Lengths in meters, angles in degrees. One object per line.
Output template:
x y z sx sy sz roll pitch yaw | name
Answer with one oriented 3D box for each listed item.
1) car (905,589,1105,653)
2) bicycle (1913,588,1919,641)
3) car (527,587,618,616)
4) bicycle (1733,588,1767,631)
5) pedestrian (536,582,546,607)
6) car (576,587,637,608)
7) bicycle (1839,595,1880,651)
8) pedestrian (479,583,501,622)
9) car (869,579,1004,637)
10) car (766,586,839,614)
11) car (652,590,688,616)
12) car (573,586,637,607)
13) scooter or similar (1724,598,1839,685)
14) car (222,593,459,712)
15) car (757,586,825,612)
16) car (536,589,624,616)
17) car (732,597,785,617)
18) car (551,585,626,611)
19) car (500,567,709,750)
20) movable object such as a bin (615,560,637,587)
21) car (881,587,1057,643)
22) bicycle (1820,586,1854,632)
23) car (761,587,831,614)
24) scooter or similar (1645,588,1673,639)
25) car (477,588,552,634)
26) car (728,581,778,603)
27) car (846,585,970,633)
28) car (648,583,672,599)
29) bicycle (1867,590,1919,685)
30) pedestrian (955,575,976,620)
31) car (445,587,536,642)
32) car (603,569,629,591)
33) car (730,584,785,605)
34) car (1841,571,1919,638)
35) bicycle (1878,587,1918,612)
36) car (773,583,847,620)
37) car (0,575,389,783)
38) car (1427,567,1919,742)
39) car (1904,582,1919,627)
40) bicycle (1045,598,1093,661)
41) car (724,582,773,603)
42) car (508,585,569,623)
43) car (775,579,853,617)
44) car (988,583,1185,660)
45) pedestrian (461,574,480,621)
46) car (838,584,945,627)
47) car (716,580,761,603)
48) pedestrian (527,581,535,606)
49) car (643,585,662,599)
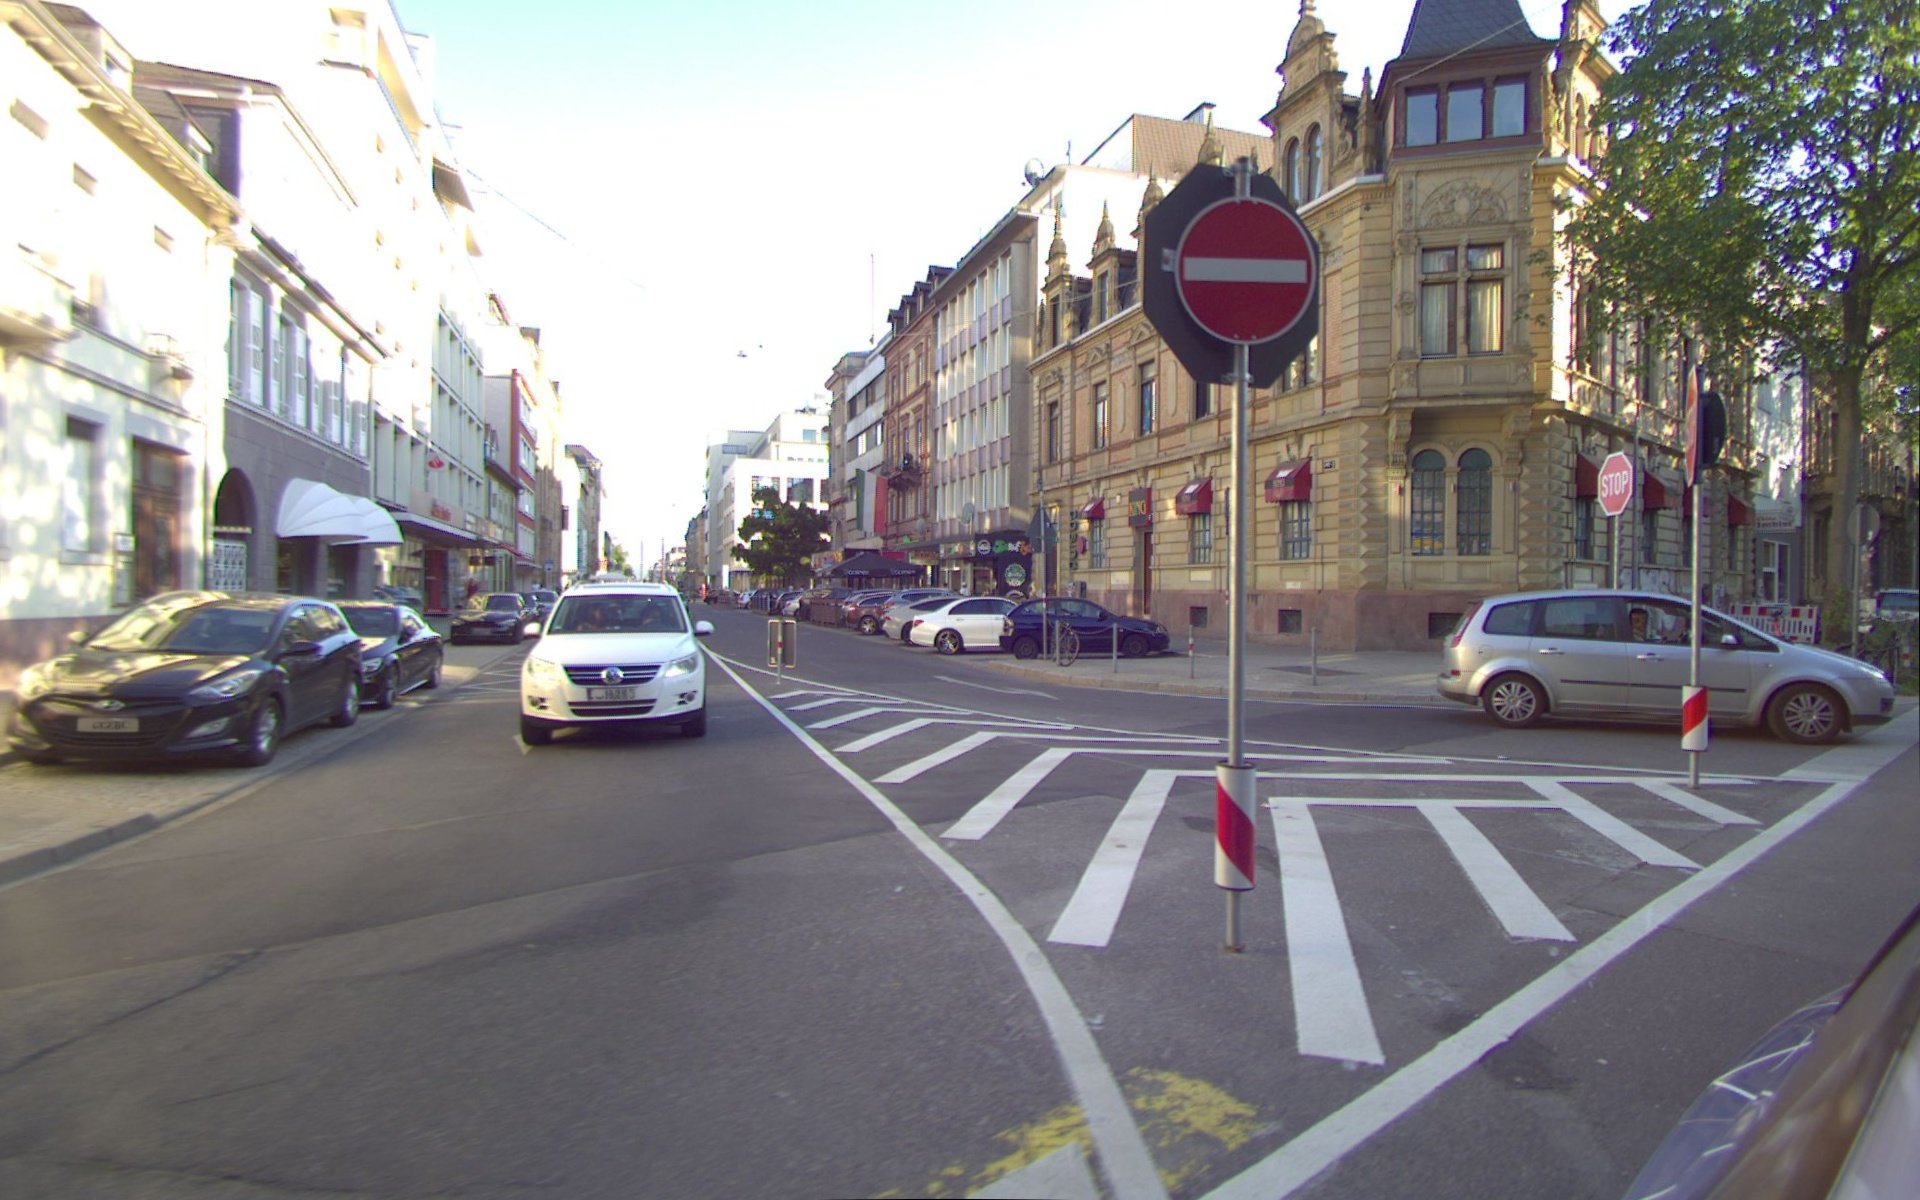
1.202 0.497 26.204 4.915 1.476 1.980 1 1 13 | car
31.403 0.454 31.035 0.647 1.684 3.115 0 0 -44 | bicycle
-19.696 0.034 51.609 1.763 1.386 4.132 1 1 34 | car
23.205 0.276 29.724 1.694 1.226 0.386 0 1 -39 | bicycle
-28.839 -0.362 69.709 0.588 1.728 0.499 2 -1 -25 | pedestrian
-27.156 -0.181 77.845 4.114 1.543 1.771 -1 2 -44 | car
19.667 0.477 22.119 2.212 1.167 0.524 -1 1 -45 | bicycle
-24.407 0.117 52.600 0.891 2.039 1.104 0 0 -18 | pedestrian
-0.722 0.221 32.589 4.072 1.747 1.775 1 1 11 | car
-9.366 0.004 60.266 4.051 1.580 1.784 1 1 -17 | car
-16.627 0.142 57.883 1.707 1.390 4.008 -1 0 -20 | car
-26.133 -0.278 74.629 4.115 1.543 1.771 -1 2 -45 | car
12.238 0.600 15.100 1.252 1.259 0.505 0 0 7 | scooter or similar
-8.710 0.646 14.692 1.738 1.387 4.527 3 0 -16 | car
-10.832 -0.062 64.821 4.051 1.580 1.784 1 1 -17 | car
-20.636 0.097 55.060 1.769 1.386 4.119 1 2 43 | car
-16.275 0.551 81.631 4.051 1.580 1.784 1 1 -17 | car
-23.166 -0.143 63.139 4.103 1.543 1.776 -1 1 -35 | car
-3.831 0.504 11.557 1.856 1.676 4.213 0 1 -14 | car
-38.070 -2.980 115.490 2.306 2.993 5.585 -1 0 -17 | movable object such as a bin
0.303 0.420 29.518 4.897 1.476 1.869 1 0 12 | car
24.563 0.240 28.340 1.694 1.250 0.386 0 1 -39 | bicycle
-10.201 0.012 62.876 4.051 1.580 1.784 1 1 -17 | car
16.728 0.322 24.218 1.073 1.209 0.251 1 0 -39 | scooter or similar
-14.825 0.309 33.863 1.738 1.386 4.193 0 1 -16 | car
-17.292 -0.655 84.570 3.916 1.838 1.862 0 1 -19 | car
-1.806 0.295 35.807 4.072 1.559 1.775 1 1 11 | car
-26.334 -0.794 88.817 1.707 1.390 4.008 -1 0 -20 | car
14.268 0.550 15.290 1.262 1.389 0.418 0 1 -29 | bicycle
0.211 -0.104 40.299 0.621 1.785 0.737 0 0 -18 | pedestrian
-13.207 0.350 28.695 1.738 1.386 4.193 0 1 -16 | car
-33.612 -1.950 98.810 2.306 2.039 4.549 -1 0 -20 | car
-15.845 -0.430 79.295 4.051 1.580 1.784 1 1 -17 | car
29.183 0.150 29.910 1.917 1.938 4.547 0 2 -42 | car
26.978 -0.032 29.086 2.289 0.673 0.582 -1 0 -41 | bicycle
-7.922 0.069 53.639 3.782 1.813 2.002 -1 0 -5 | car
-7.247 0.561 9.846 1.828 1.562 4.433 0 1 -14 | car
7.772 0.497 11.580 4.314 1.674 1.867 0 1 29 | car
35.174 0.218 34.393 1.934 1.580 4.238 1 1 -36 | car
2.167 0.567 20.342 0.813 1.149 1.832 -1 1 2 | bicycle
-18.313 -0.644 87.631 3.916 1.838 1.862 0 1 -19 | car
-16.431 0.114 39.605 1.738 1.386 4.193 0 1 -16 | car
-7.287 -0.109 50.864 3.782 1.813 2.002 -1 0 -5 | car
2.854 0.474 23.044 4.207 1.430 1.709 -4 0 8 | car
-21.499 -0.109 44.483 0.665 2.039 0.621 0 0 -17 | pedestrian
-2.668 0.208 39.276 4.056 1.580 1.782 1 1 -4 | car
-20.204 -0.773 92.278 3.916 2.039 1.876 0 0 -16 | car
-29.492 -0.436 69.613 0.418 1.728 0.499 2 -1 -27 | pedestrian
-32.431 -0.808 106.633 1.707 1.390 4.008 -1 0 -20 | car
